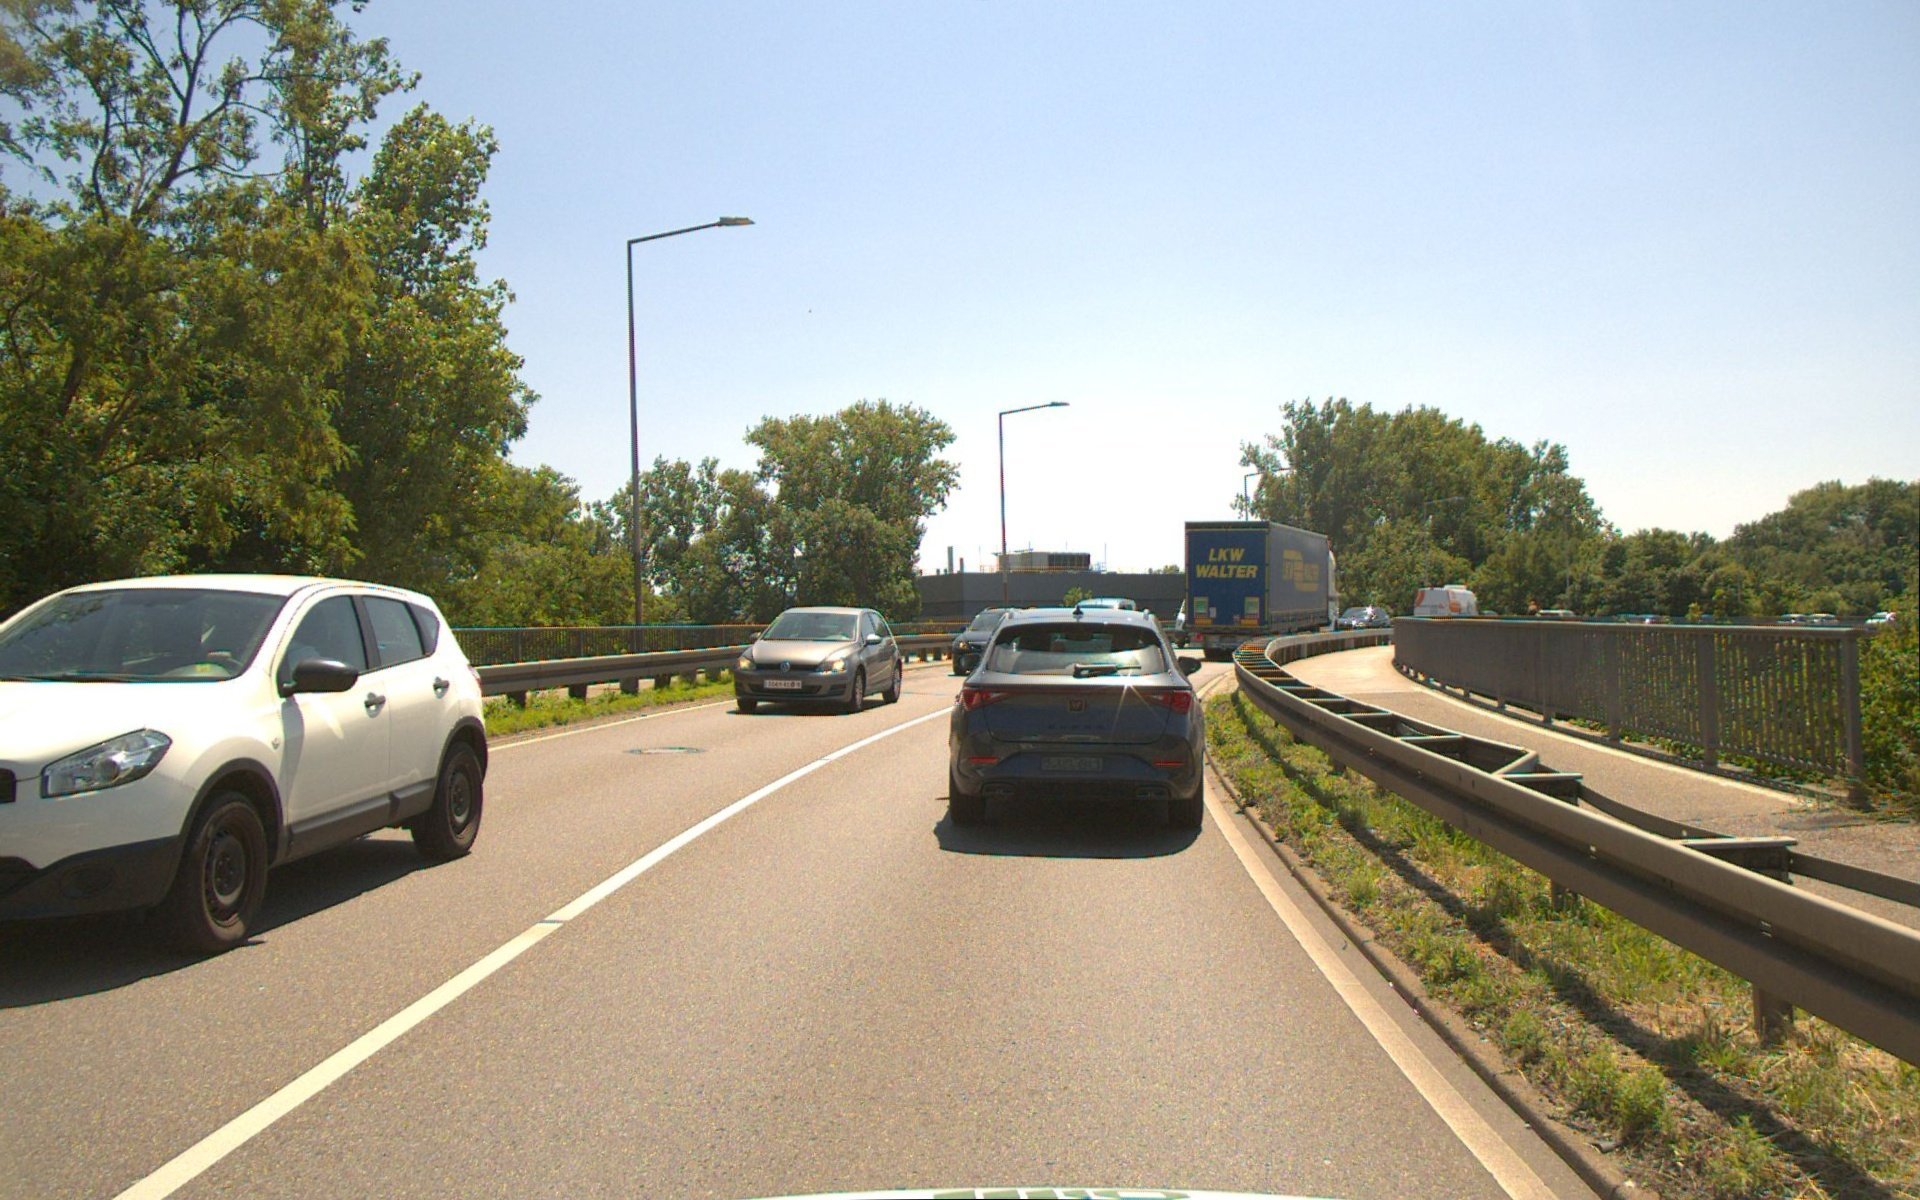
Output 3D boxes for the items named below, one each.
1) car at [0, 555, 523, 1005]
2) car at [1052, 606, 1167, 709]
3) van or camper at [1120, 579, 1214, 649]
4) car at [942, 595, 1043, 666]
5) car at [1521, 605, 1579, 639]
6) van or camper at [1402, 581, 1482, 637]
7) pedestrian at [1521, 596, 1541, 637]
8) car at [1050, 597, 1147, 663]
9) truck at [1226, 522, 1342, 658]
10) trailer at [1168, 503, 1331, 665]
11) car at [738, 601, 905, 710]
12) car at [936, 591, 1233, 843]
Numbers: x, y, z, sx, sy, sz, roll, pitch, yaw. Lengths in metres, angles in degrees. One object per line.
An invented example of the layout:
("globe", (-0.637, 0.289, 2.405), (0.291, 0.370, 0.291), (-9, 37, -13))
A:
("car", (-3.759, 0.638, 8.058), (1.709, 1.573, 4.396), (0, 0, 6))
("car", (2.439, 0.879, 26.406), (1.559, 1.487, 3.547), (1, -1, 9))
("van or camper", (8.237, 0.506, 65.248), (2.007, 2.582, 5.881), (-2, -1, 24))
("car", (0.794, 0.658, 37.061), (1.719, 1.468, 4.571), (1, -1, 8))
("car", (34.725, 1.317, 97.253), (1.861, 1.882, 3.976), (0, -1, 41))
("van or camper", (24.675, 0.466, 84.477), (2.165, 2.759, 5.905), (0, 0, 35))
("pedestrian", (27.991, 0.799, 81.035), (0.724, 2.002, 0.732), (0, -1, 35))
("car", (4.256, 0.892, 50.259), (1.721, 1.887, 4.274), (0, -1, 22))
("truck", (12.023, -0.293, 60.858), (3.104, 4.665, 7.398), (1, -1, 19))
("trailer", (9.825, -0.401, 54.624), (3.069, 4.695, 12.950), (1, -1, 20))
("car", (-1.935, 0.747, 24.232), (1.680, 1.453, 4.110), (0, 0, 6))
("car", (0.743, 0.720, 11.962), (1.808, 1.525, 3.757), (1, 0, -1))
